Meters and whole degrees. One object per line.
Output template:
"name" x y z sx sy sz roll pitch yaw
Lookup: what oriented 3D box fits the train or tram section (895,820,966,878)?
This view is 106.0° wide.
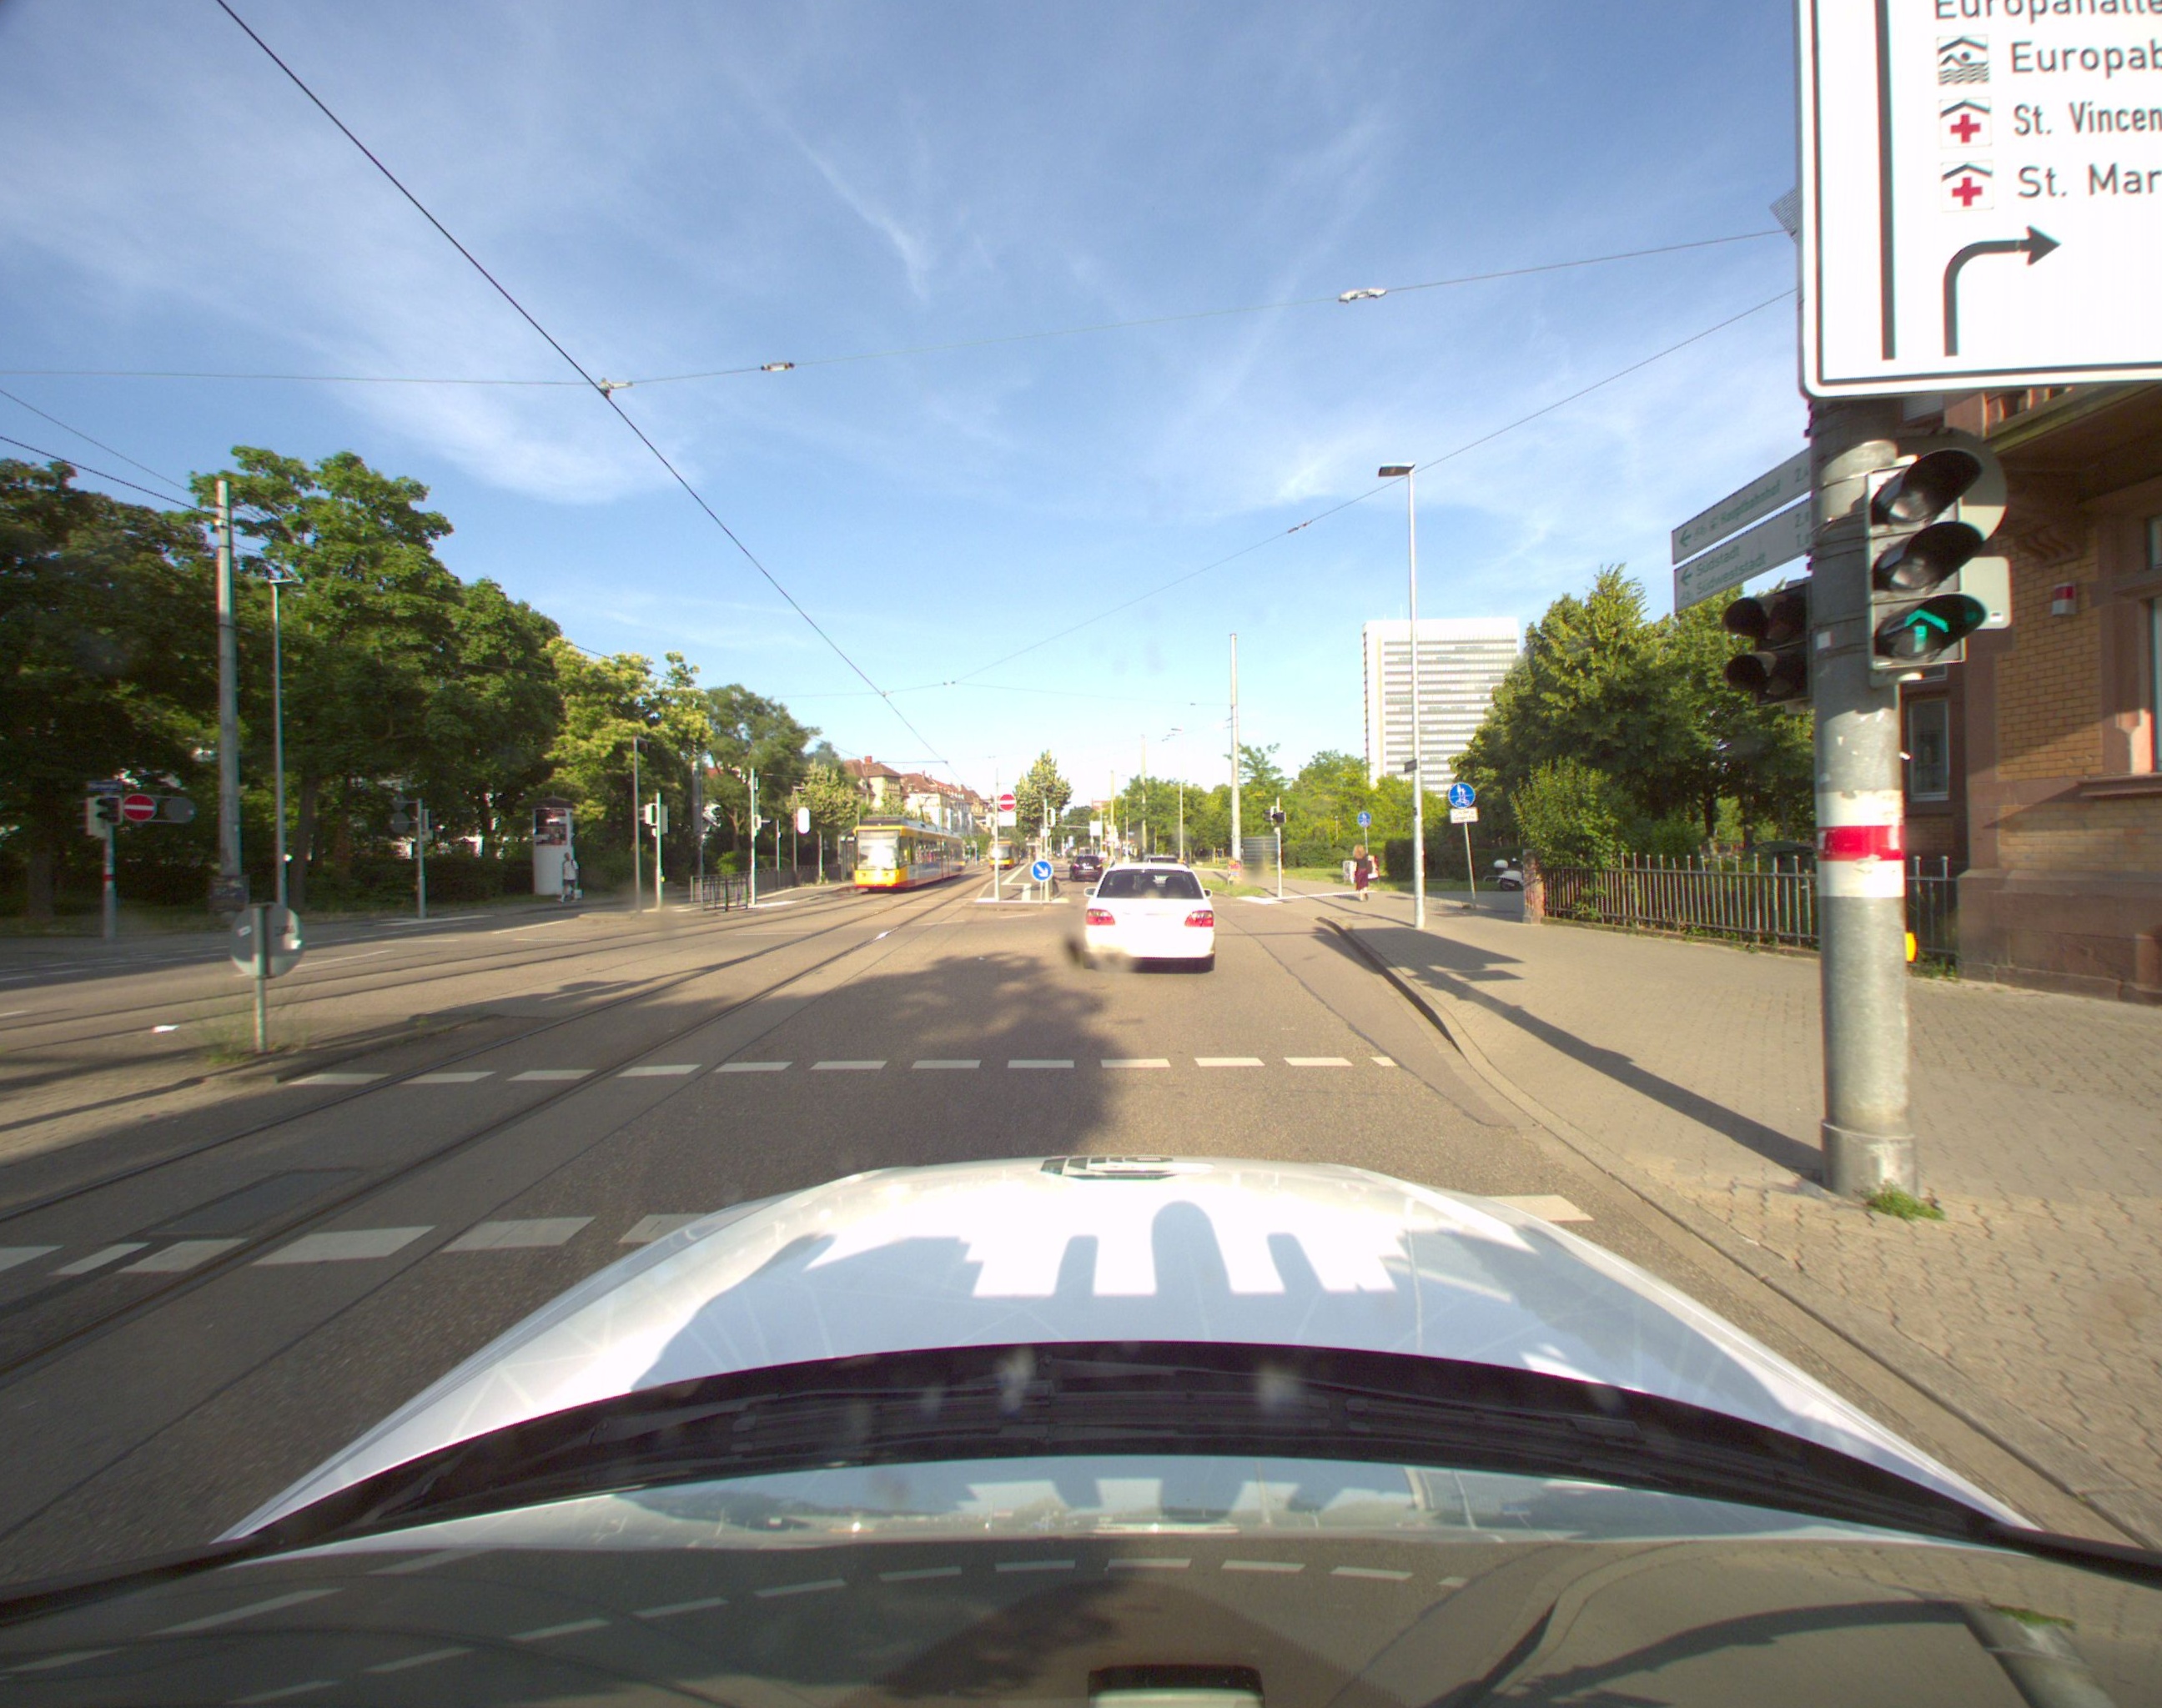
"train or tram section" -10.032 -0.345 55.993 3.156 3.479 14.450 0 0 -4

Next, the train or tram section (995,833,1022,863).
"train or tram section" -9.081 -0.728 102.763 2.843 3.479 13.186 0 0 -3

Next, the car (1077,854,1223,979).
"car" 0.845 0.781 12.074 1.753 1.503 3.998 -1 0 -1

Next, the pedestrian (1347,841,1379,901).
"pedestrian" 8.335 0.495 24.121 0.613 1.692 0.548 -6 0 1

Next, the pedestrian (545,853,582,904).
"pedestrian" -19.755 0.905 31.111 1.004 1.909 0.704 0 0 -16

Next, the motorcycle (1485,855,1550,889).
"motorcycle" 15.470 0.627 28.874 1.995 1.159 0.706 0 0 -9

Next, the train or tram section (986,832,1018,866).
"train or tram section" -8.606 -0.556 89.789 2.843 3.479 13.186 0 1 -3

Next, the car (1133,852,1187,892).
"car" 3.346 0.714 35.053 2.026 1.605 4.001 0 0 1

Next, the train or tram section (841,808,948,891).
"train or tram section" -9.035 -0.245 41.624 3.156 3.479 14.511 0 0 -4

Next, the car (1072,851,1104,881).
"car" 0.447 0.658 47.488 1.781 1.690 4.001 0 0 1
